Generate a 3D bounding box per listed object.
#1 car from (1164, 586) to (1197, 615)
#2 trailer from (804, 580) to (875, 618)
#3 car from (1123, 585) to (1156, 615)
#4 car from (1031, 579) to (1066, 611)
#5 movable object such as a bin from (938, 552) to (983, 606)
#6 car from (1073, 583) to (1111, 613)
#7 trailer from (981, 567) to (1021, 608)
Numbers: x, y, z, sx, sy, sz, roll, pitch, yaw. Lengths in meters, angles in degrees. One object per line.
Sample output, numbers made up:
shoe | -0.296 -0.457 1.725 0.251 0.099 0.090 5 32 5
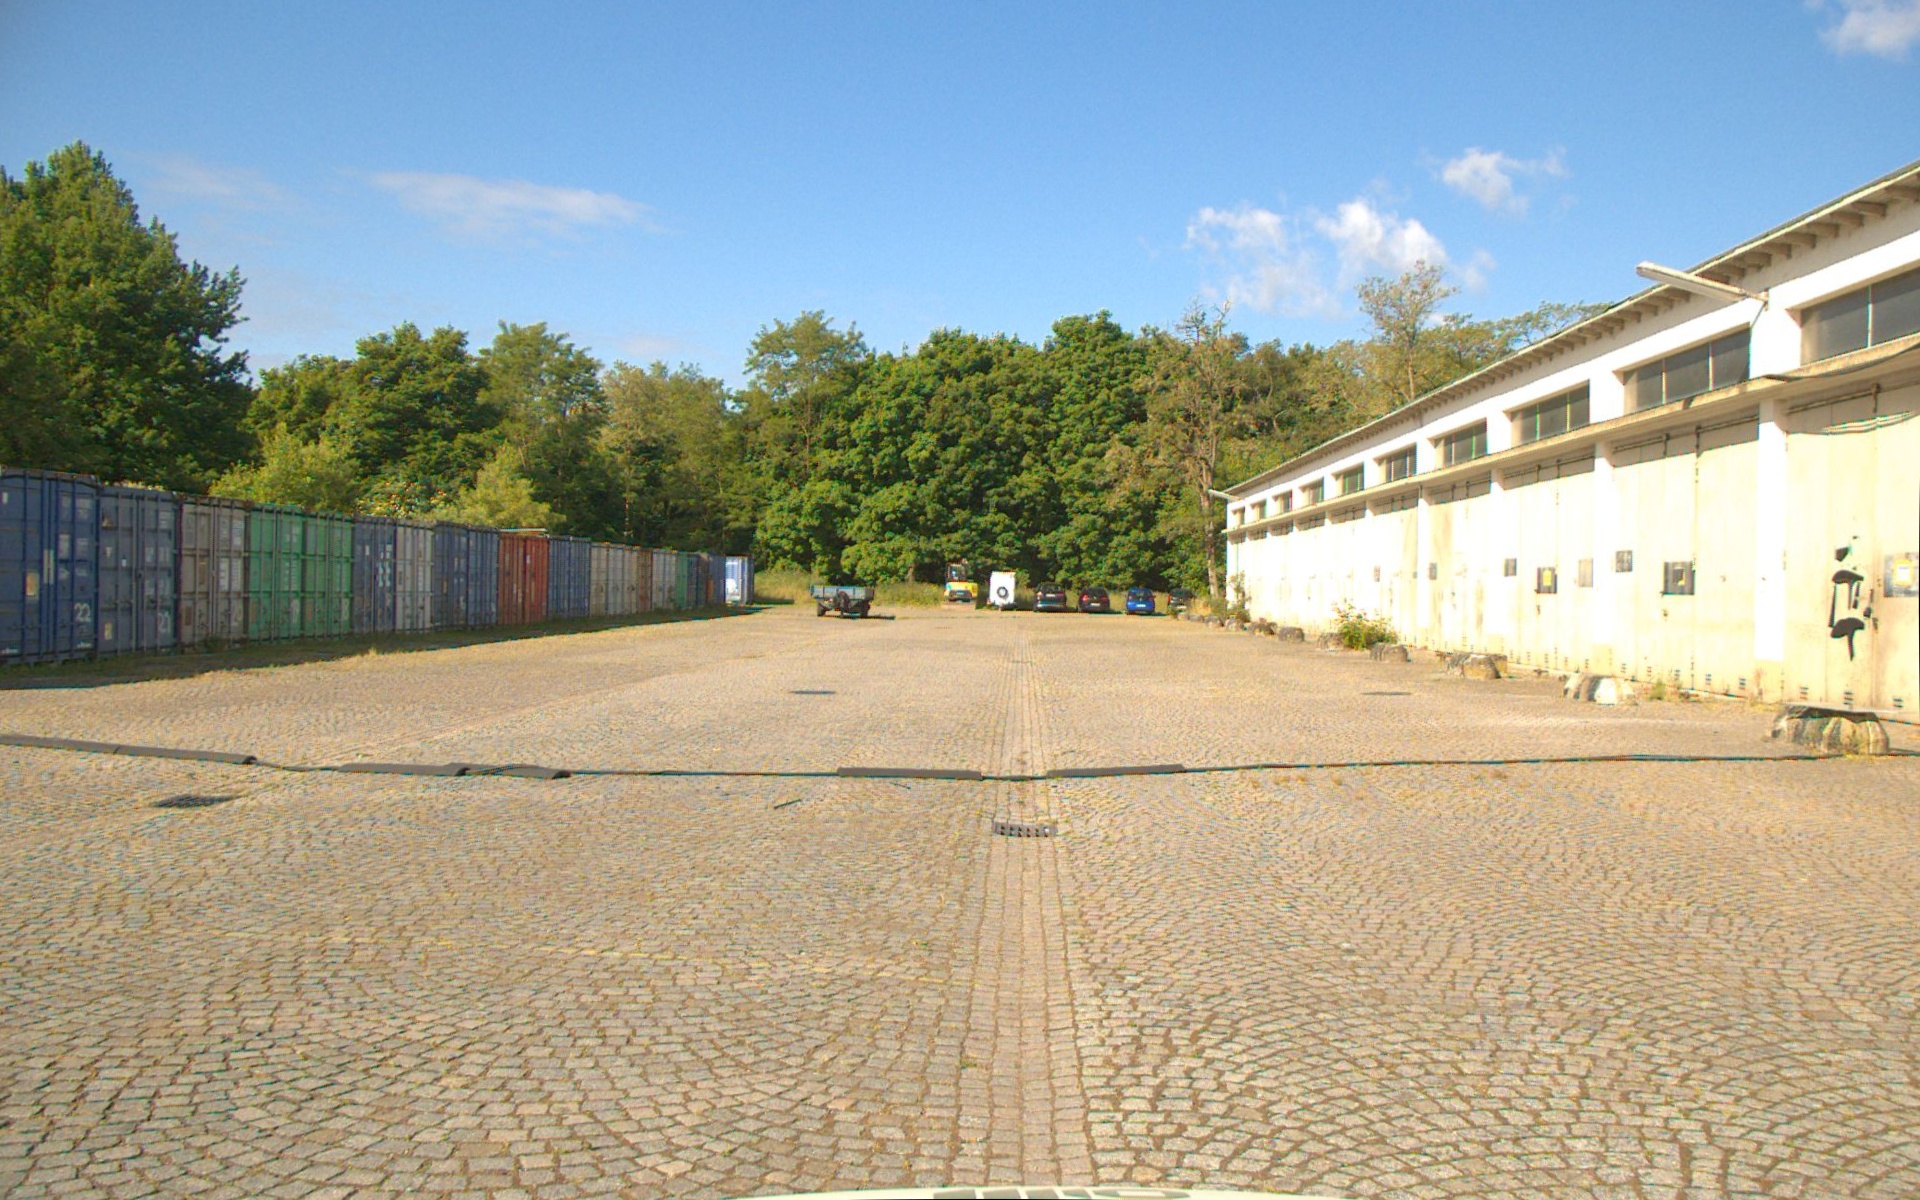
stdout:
car | 12.526 0.015 93.927 1.707 1.461 4.187 2 2 9
trailer | -5.411 -0.061 75.072 2.650 1.491 6.248 2 1 0
car | 10.076 -0.012 92.597 1.707 1.461 4.187 2 2 7
car | 4.923 -0.291 92.457 1.825 1.616 4.297 2 2 2
movable object such as a bin | 0.067 -1.286 95.585 2.258 2.947 5.754 2 2 3
car | 7.371 -0.150 92.746 1.825 1.495 4.297 2 2 2
trailer | 2.367 -0.769 94.919 2.148 2.131 5.753 2 2 2
